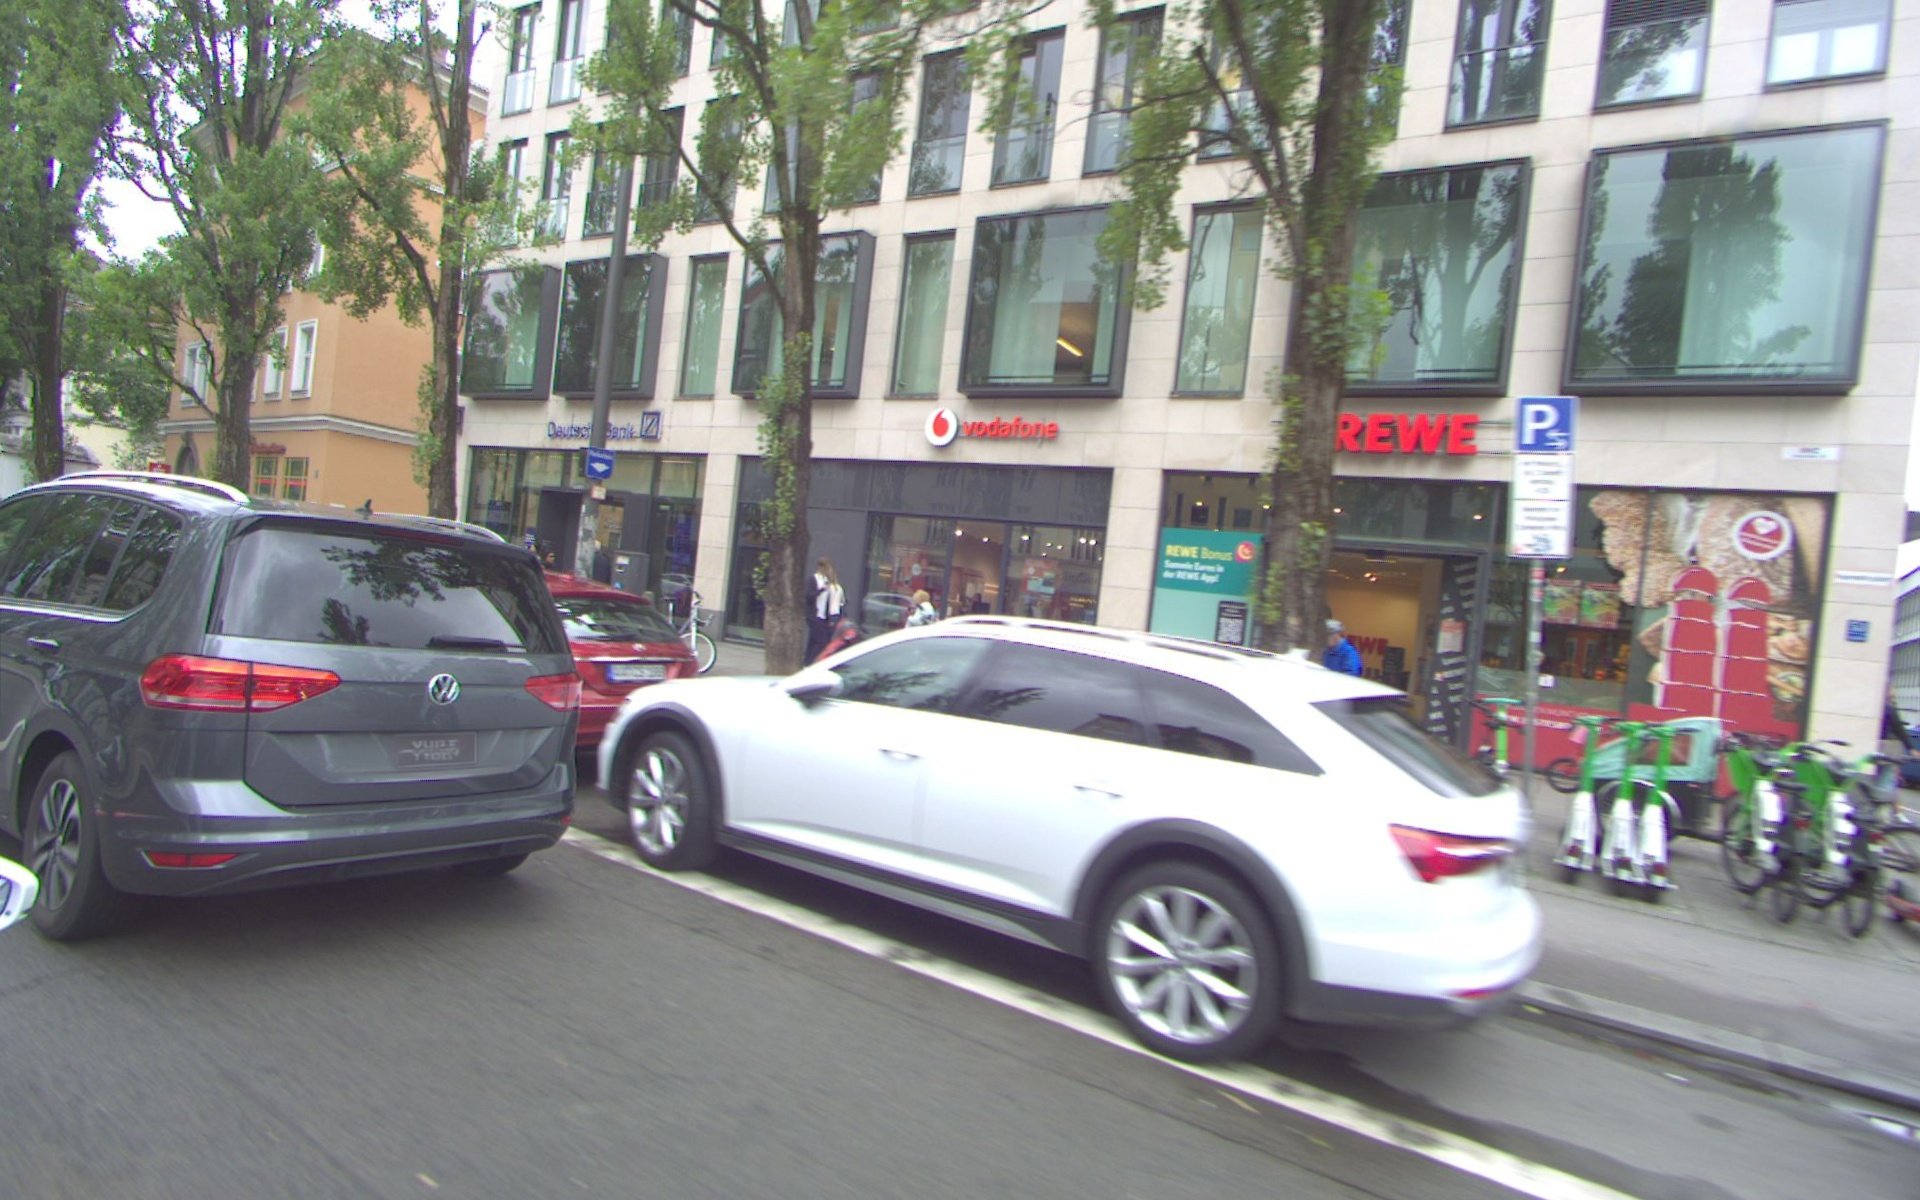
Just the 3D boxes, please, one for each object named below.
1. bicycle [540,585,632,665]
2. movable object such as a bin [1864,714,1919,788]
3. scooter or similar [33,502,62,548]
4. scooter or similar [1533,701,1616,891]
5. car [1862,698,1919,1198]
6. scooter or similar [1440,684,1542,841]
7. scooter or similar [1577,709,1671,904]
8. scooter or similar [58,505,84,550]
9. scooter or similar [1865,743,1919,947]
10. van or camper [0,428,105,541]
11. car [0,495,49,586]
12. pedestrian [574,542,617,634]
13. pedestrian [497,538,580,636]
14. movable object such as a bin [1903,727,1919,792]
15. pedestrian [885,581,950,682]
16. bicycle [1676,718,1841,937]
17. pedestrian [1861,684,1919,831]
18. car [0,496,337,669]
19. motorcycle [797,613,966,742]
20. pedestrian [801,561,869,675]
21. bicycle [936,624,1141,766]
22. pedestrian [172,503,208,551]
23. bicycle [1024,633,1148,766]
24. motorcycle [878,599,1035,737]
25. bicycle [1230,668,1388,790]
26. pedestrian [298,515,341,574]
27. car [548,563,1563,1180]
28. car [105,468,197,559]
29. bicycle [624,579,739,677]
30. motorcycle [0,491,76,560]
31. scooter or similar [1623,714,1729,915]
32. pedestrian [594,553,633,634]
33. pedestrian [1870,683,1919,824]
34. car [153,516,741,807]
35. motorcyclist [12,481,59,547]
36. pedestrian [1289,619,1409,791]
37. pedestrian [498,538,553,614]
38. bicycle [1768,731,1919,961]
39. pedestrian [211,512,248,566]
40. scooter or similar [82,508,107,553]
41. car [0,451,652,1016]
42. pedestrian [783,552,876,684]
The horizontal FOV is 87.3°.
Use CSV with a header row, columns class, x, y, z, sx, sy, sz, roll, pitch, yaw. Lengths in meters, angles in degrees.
class,x,y,z,sx,sy,sz,roll,pitch,yaw
bicycle,-5.425,0.345,14.551,1.738,0.953,0.432,7,2,42
movable object such as a bin,21.241,3.390,22.419,1.162,1.453,1.162,8,2,26
scooter or similar,-26.357,-2.184,29.072,0.522,1.249,1.460,3,3,-40
scooter or similar,4.629,1.424,7.630,0.306,1.216,1.437,7,1,28
car,5.222,1.372,2.096,4.574,1.720,1.927,6,-1,33
scooter or similar,4.802,1.410,9.062,0.545,1.226,1.384,7,1,34
scooter or similar,4.903,1.467,7.480,0.306,1.216,1.437,7,1,28
scooter or similar,-25.932,-2.127,29.364,0.483,1.249,1.390,3,3,-40
scooter or similar,6.625,1.654,6.816,0.373,1.241,1.052,7,1,29
van or camper,-30.110,-3.768,32.748,4.644,3.152,2.458,7,2,38
car,-17.504,-1.194,17.339,4.363,1.412,1.733,7,1,35
pedestrian,-6.922,-0.229,19.087,0.545,1.658,0.554,6,1,-28
pedestrian,-7.429,-0.223,17.744,0.922,1.597,0.835,7,1,29
movable object such as a bin,20.510,3.402,20.698,1.162,1.311,1.162,8,2,26
pedestrian,-0.730,0.544,17.472,0.704,1.642,0.796,7,2,19
bicycle,5.559,1.518,7.085,0.526,1.223,1.480,7,1,28
pedestrian,11.958,1.984,12.747,0.460,1.773,0.427,6,1,4
car,-9.282,-0.240,11.608,4.354,1.446,1.848,7,0,34
motorcycle,-0.838,0.817,10.977,1.612,1.171,0.688,7,1,10
pedestrian,-2.084,0.288,16.754,0.786,1.795,0.677,6,2,-25
bicycle,0.751,0.870,9.623,1.738,1.076,0.643,7,1,19
pedestrian,-28.532,-2.692,37.271,0.768,1.634,0.819,7,2,39
bicycle,1.316,1.032,10.803,0.540,1.205,1.446,6,1,-24
motorcycle,-0.031,0.770,11.785,1.612,1.374,0.688,7,2,10
bicycle,3.757,1.398,10.779,1.748,1.187,0.448,6,1,-30
pedestrian,-18.188,-1.558,28.554,0.701,1.571,0.606,6,2,9
car,0.206,0.834,5.116,4.727,1.520,1.811,7,1,33
car,-24.709,-2.657,30.660,1.893,2.358,4.768,5,2,-41
bicycle,-4.051,0.391,14.570,1.686,1.203,0.455,7,2,30
motorcycle,-21.395,-1.733,23.265,2.216,1.388,0.826,7,2,33
scooter or similar,5.180,1.497,7.335,0.306,1.216,1.437,7,1,28
pedestrian,-6.790,-0.134,19.715,0.498,1.510,0.543,6,1,-28
pedestrian,12.431,2.002,13.252,0.420,1.773,0.467,7,2,33
car,-4.235,0.325,8.067,4.724,1.468,1.932,7,1,31
motorcyclist,-21.448,-1.988,23.345,0.753,1.425,0.564,7,2,33
pedestrian,3.952,1.068,10.236,0.784,1.640,0.608,5,2,-28
pedestrian,-10.002,-0.557,23.177,0.826,1.642,0.735,7,2,39
bicycle,6.020,1.579,6.759,0.526,1.223,1.480,7,1,28
pedestrian,-24.078,-2.012,33.165,0.793,1.647,0.728,8,2,40
scooter or similar,-25.497,-2.059,29.649,0.483,1.249,1.154,3,3,-40
car,-3.638,0.276,4.797,4.115,1.633,1.763,7,0,32
pedestrian,-1.991,0.275,15.380,0.923,1.893,0.817,7,2,33
